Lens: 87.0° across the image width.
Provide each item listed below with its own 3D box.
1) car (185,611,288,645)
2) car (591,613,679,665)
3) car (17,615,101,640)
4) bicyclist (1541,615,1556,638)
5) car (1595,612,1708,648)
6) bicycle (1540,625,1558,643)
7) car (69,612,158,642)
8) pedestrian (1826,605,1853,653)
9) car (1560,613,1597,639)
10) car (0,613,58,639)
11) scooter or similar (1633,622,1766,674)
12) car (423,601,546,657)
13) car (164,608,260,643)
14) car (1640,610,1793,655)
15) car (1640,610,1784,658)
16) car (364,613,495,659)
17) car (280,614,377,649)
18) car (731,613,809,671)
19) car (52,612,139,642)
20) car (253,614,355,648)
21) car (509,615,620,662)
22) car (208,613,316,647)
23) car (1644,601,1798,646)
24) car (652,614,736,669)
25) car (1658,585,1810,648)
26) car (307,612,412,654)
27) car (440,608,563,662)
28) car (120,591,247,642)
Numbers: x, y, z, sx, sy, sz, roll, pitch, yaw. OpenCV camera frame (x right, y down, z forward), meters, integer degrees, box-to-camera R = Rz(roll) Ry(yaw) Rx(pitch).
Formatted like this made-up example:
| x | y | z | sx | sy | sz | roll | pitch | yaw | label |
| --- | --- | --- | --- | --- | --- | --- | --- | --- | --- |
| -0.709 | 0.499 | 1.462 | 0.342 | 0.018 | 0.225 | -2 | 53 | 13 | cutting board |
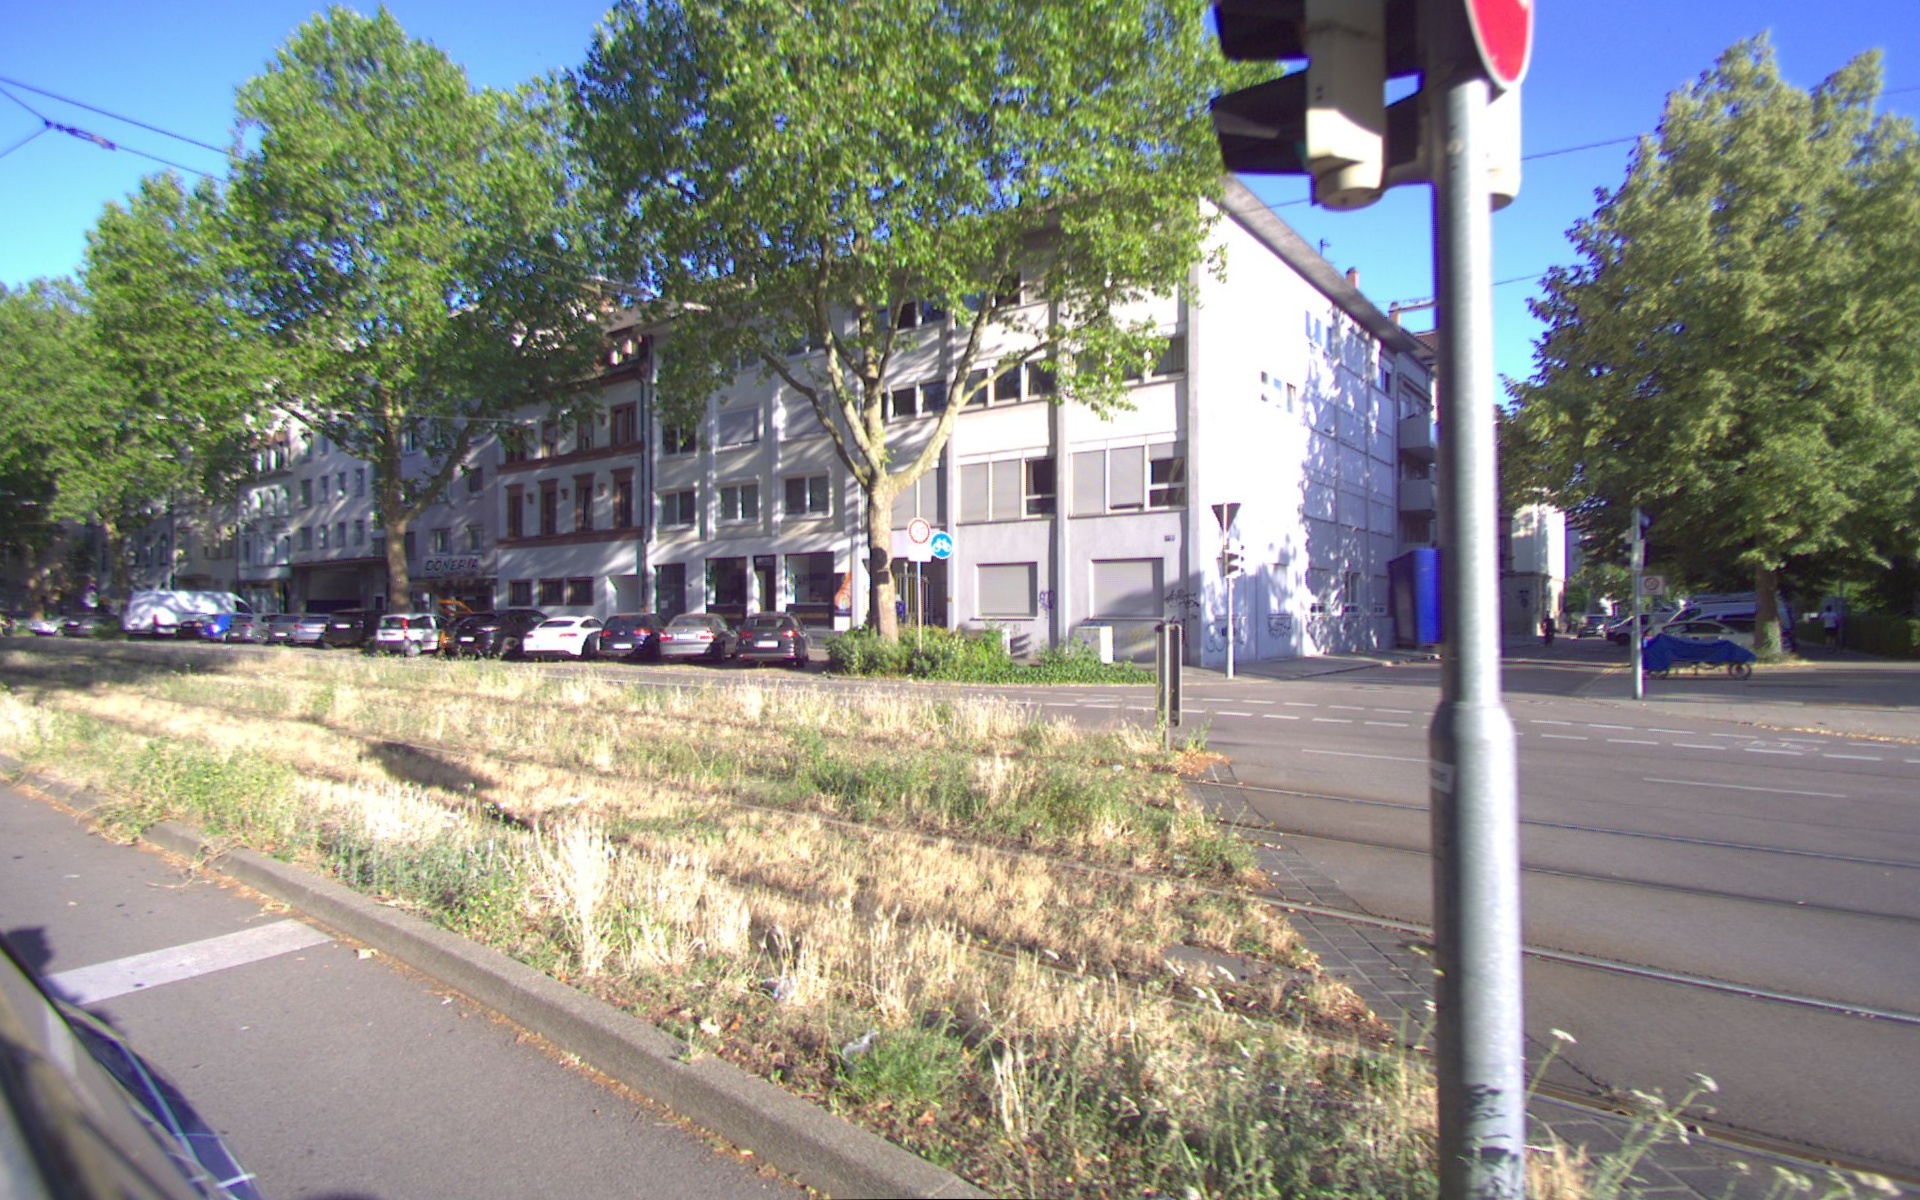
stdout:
| x | y | z | sx | sy | sz | roll | pitch | yaw | label |
| --- | --- | --- | --- | --- | --- | --- | --- | --- | --- |
| -36.077 | 1.347 | 50.583 | 1.978 | 1.630 | 3.987 | 0 | -1 | 10 | car |
| -10.032 | 1.162 | 31.513 | 1.804 | 1.515 | 3.976 | 0 | -1 | -6 | car |
| -62.655 | 1.884 | 70.449 | 1.978 | 1.719 | 3.987 | 0 | -1 | 10 | car |
| 34.399 | 1.530 | 59.155 | 0.632 | 1.341 | 0.957 | -1 | -1 | 38 | bicyclist |
| 40.802 | 1.732 | 59.896 | 5.410 | 2.029 | 1.977 | -1 | -1 | 34 | car |
| 34.439 | 1.979 | 59.174 | 0.632 | 0.987 | 1.964 | -1 | -1 | 37 | bicycle |
| -53.114 | 1.691 | 63.595 | 1.978 | 1.829 | 3.987 | 0 | -1 | 10 | car |
| 32.912 | 1.062 | 37.877 | 0.691 | 1.779 | 0.730 | -1 | -1 | 37 | pedestrian |
| 50.990 | 2.087 | 83.512 | 1.989 | 2.029 | 5.378 | -1 | -1 | 26 | car |
| -65.585 | 1.791 | 70.185 | 1.994 | 1.719 | 4.189 | -1 | -1 | 33 | car |
| 17.452 | 1.147 | 23.935 | 2.444 | 1.135 | 1.083 | -4 | -3 | 38 | scooter or similar |
| -17.335 | 1.025 | 37.099 | 1.506 | 1.958 | 4.227 | -1 | -1 | 21 | car |
| -40.792 | 1.353 | 55.318 | 1.978 | 1.829 | 3.987 | 0 | -1 | 10 | car |
| 25.201 | 1.088 | 33.830 | 3.994 | 1.409 | 1.794 | -2 | -1 | 38 | car |
| 26.632 | 1.173 | 35.949 | 3.994 | 1.630 | 1.867 | -1 | -1 | 38 | car |
| -19.269 | 1.259 | 36.977 | 1.632 | 1.569 | 4.227 | -1 | -1 | 21 | car |
| -27.548 | 1.338 | 44.314 | 1.581 | 1.470 | 4.256 | 0 | -1 | 1 | car |
| -5.057 | 1.064 | 27.357 | 1.745 | 1.442 | 3.976 | 0 | -1 | -6 | car |
| -55.818 | 1.727 | 65.433 | 1.978 | 1.829 | 3.987 | 0 | -1 | 10 | car |
| -30.013 | 1.376 | 46.483 | 1.881 | 1.468 | 4.256 | 0 | -1 | 1 | car |
| -12.504 | 1.184 | 32.316 | 2.121 | 1.388 | 4.261 | 0 | -1 | -3 | car |
| -33.540 | 1.418 | 48.759 | 1.983 | 1.529 | 3.978 | 0 | -1 | 17 | car |
| 29.690 | 0.889 | 39.643 | 4.702 | 1.674 | 1.975 | -1 | -1 | 38 | car |
| -7.612 | 1.140 | 29.274 | 1.716 | 1.443 | 3.976 | -1 | -1 | -6 | car |
| 33.295 | 0.706 | 43.710 | 5.106 | 2.537 | 1.975 | -1 | -1 | 38 | car |
| -24.833 | 1.333 | 42.029 | 1.880 | 1.626 | 4.258 | 0 | -1 | -1 | car |
| -15.315 | 1.137 | 34.072 | 2.124 | 1.696 | 4.254 | 0 | -1 | 2 | car |
| -43.240 | 0.901 | 56.541 | 2.158 | 2.721 | 5.590 | 0 | -1 | 12 | car |
